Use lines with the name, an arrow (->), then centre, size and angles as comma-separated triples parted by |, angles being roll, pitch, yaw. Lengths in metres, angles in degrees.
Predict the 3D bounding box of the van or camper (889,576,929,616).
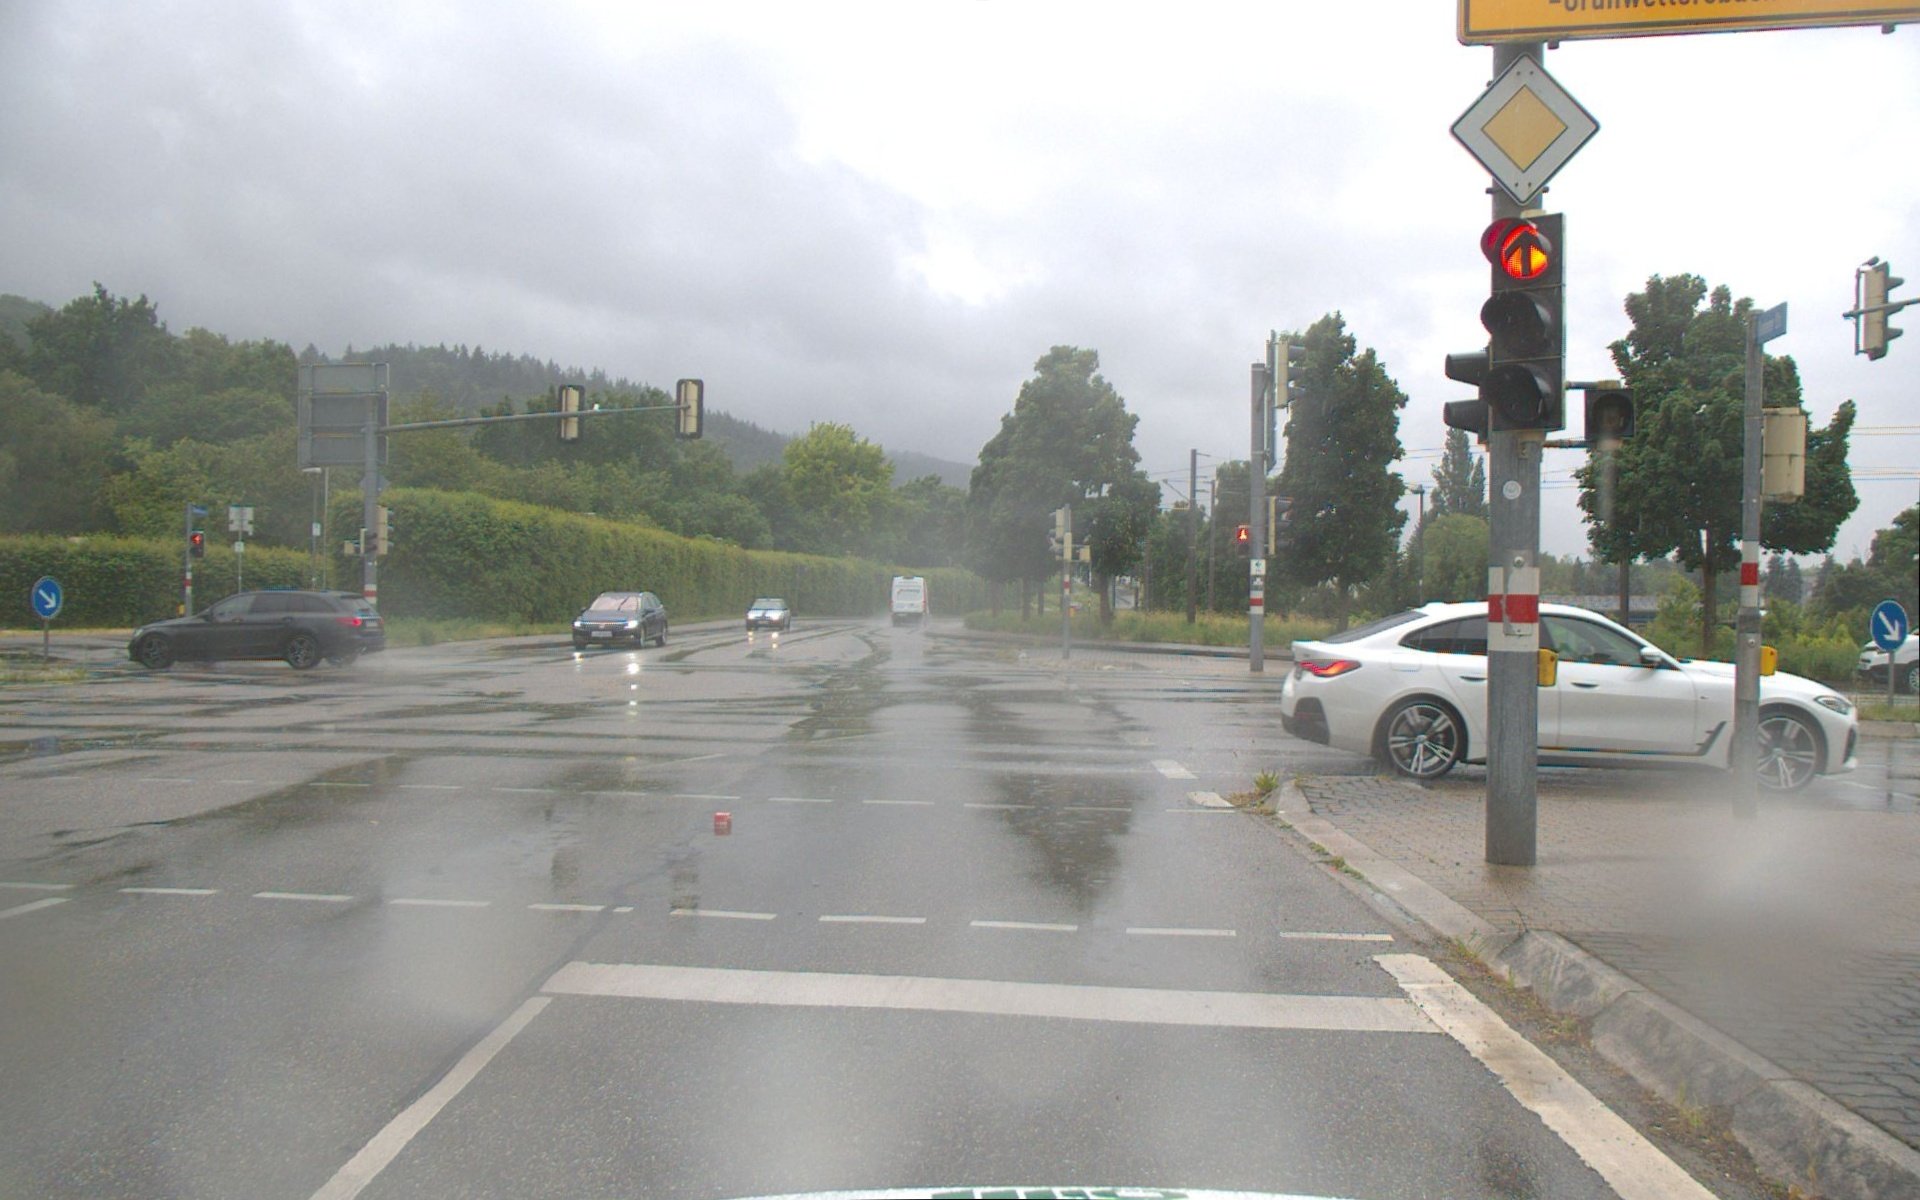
van or camper -> -2.895, -0.231, 94.861 | 2.109, 2.207, 4.864 | 1, 1, -1

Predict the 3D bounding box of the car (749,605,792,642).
car -> -8.440, 1.024, 73.732 | 1.526, 1.507, 3.361 | 1, 1, -1

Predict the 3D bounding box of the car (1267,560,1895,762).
car -> 5.123, 0.465, 14.246 | 4.778, 1.580, 1.801 | 0, 0, 7

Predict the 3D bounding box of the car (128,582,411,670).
car -> -12.946, 0.459, 31.169 | 4.572, 1.580, 1.823 | 0, 0, 2

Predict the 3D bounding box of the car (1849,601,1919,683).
car -> 20.191, 0.838, 32.793 | 4.243, 1.580, 1.823 | 0, 0, 18

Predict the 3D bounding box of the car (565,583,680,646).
car -> -9.097, 0.363, 45.011 | 1.839, 1.601, 4.647 | -1, 0, 4
